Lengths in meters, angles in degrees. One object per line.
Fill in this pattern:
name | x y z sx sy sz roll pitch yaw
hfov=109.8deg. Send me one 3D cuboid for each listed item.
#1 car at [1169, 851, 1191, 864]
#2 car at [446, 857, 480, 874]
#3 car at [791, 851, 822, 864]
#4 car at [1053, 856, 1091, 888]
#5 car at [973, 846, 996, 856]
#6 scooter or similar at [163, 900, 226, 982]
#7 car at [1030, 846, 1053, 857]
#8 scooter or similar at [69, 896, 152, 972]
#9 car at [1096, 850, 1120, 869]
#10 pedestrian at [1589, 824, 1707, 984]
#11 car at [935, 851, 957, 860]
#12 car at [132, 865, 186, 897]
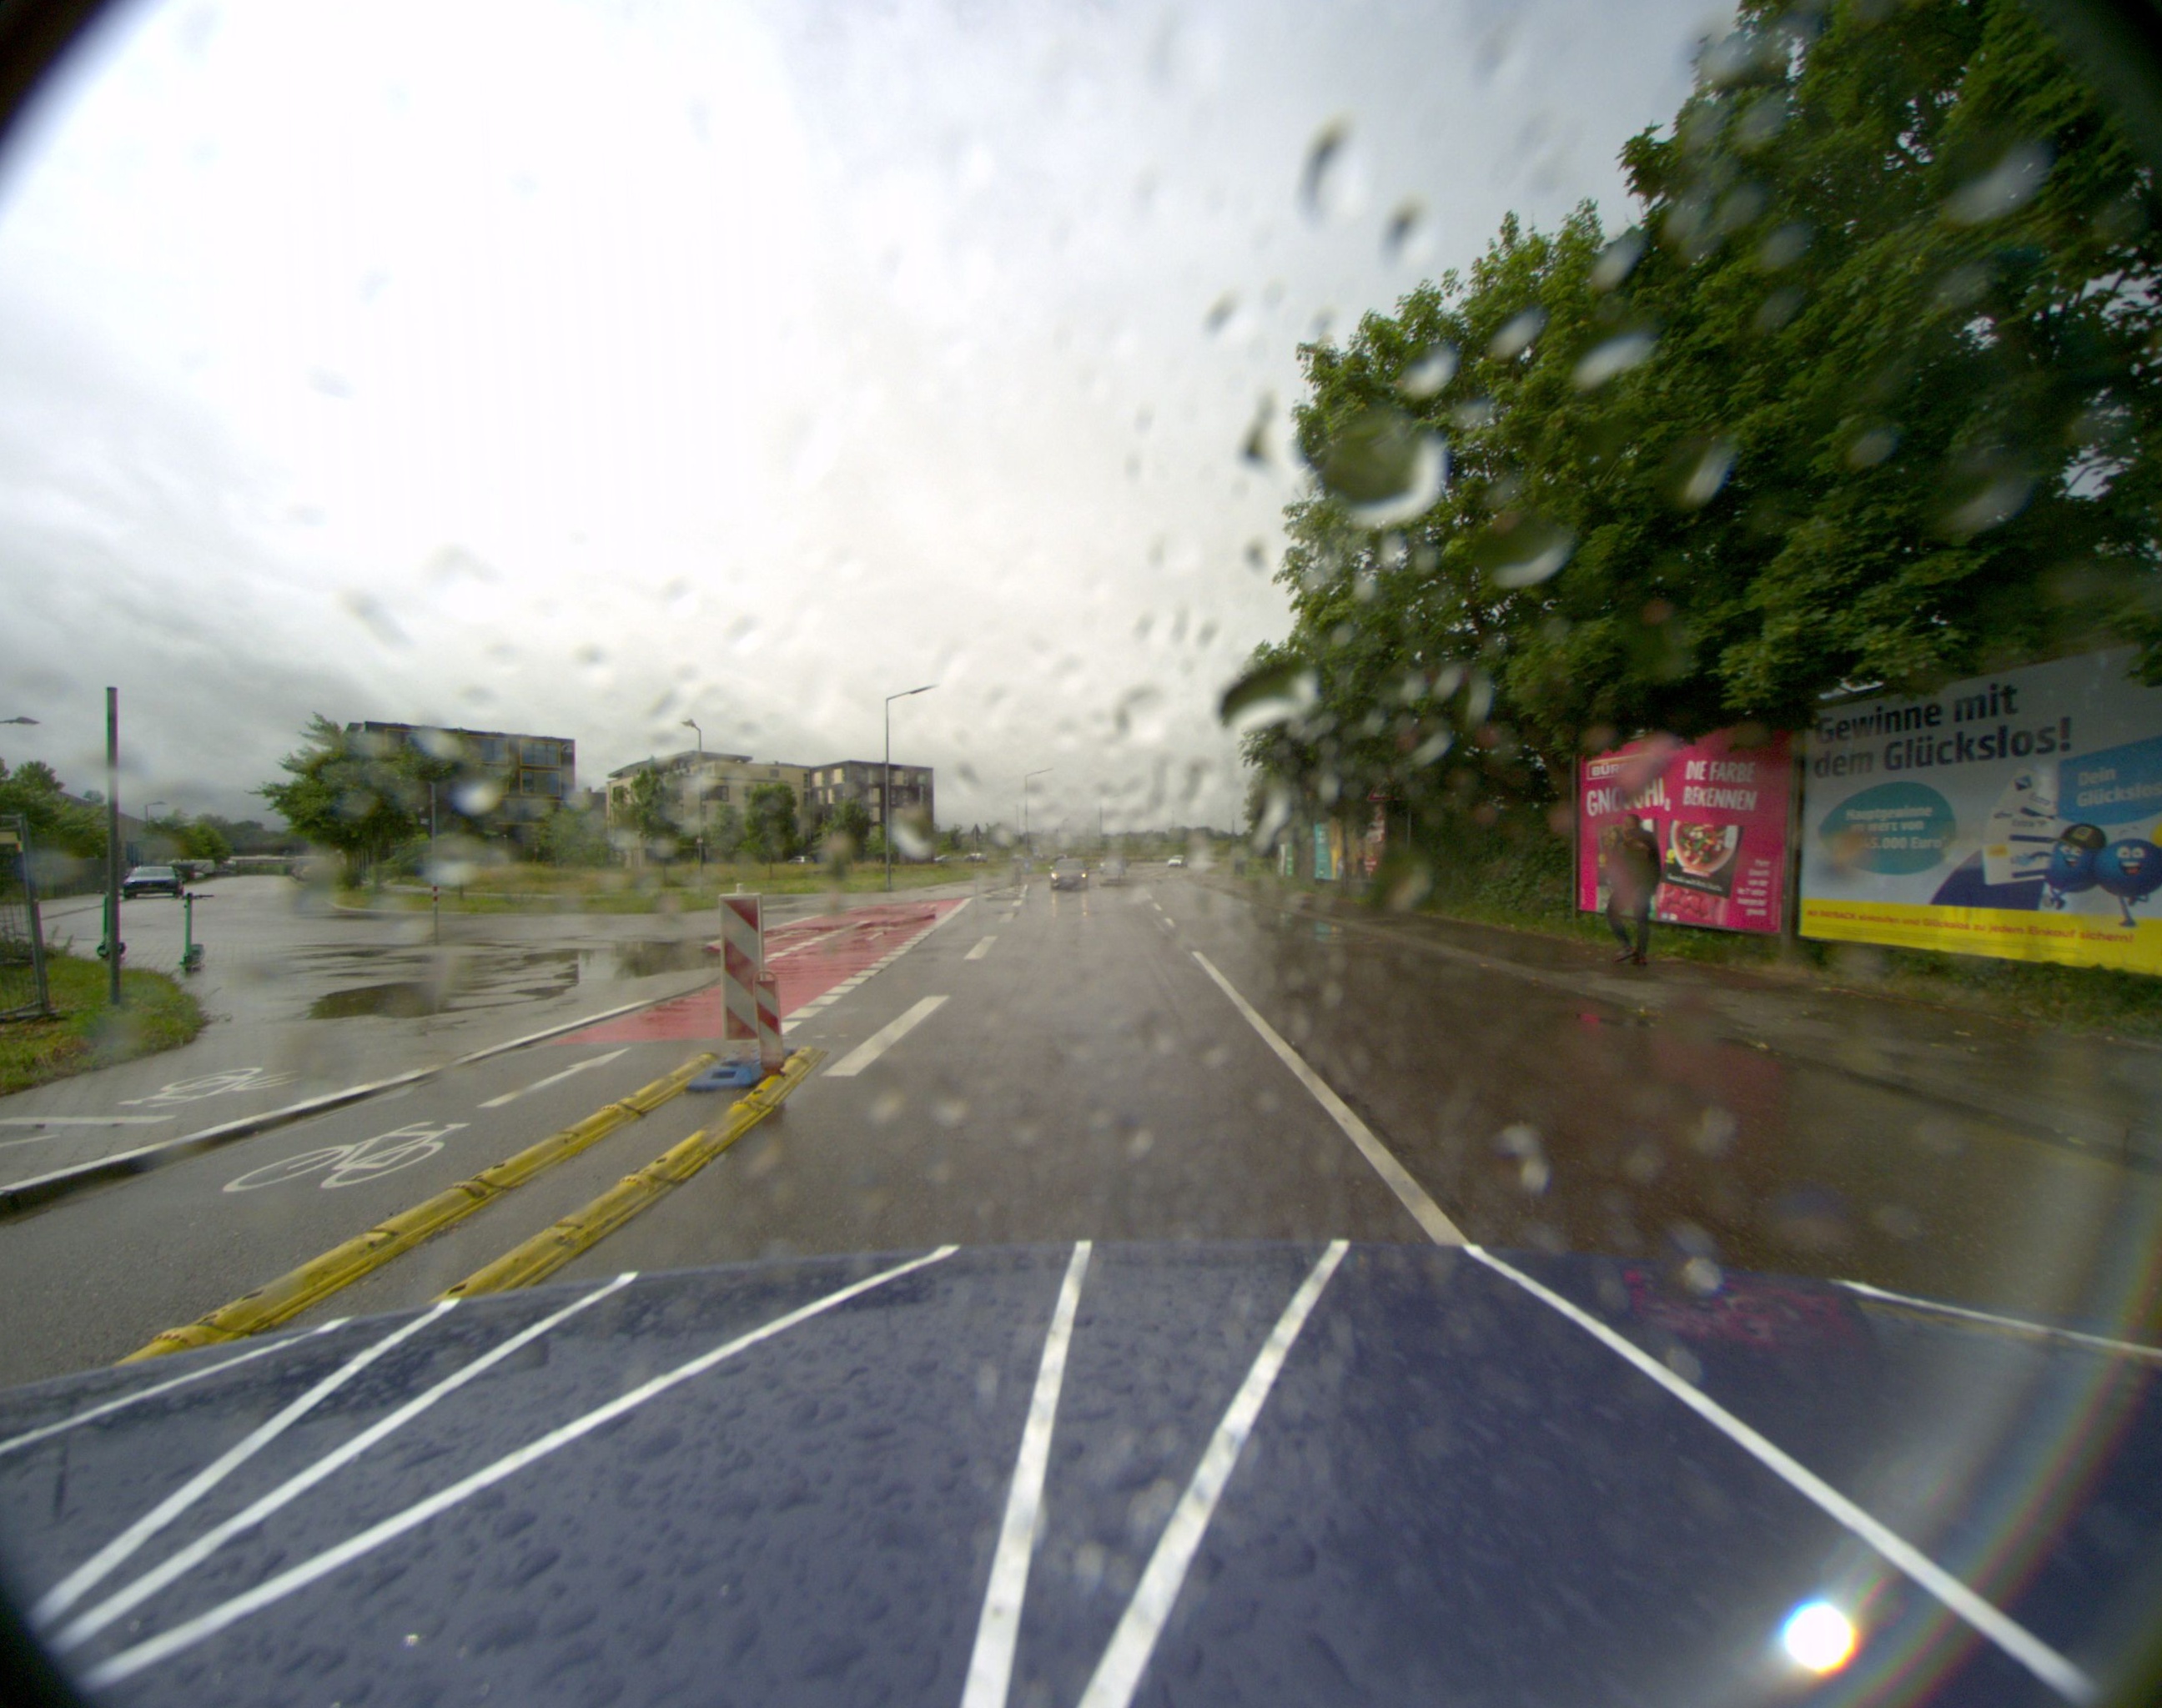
car | 13.243 0.489 101.592 1.794 1.624 3.824 -1 1 25
car | -60.491 1.155 74.318 3.658 1.574 1.652 -1 1 36
car | -35.933 0.449 99.413 1.644 1.574 3.674 -1 1 24
car | -0.469 0.842 37.466 1.724 1.423 3.817 -1 0 -1
car | -19.242 -0.579 151.911 4.008 2.002 1.994 -2 1 -43
scooter or similar | -13.682 1.315 11.717 1.191 1.144 0.484 0 1 34
car | -7.396 -0.487 140.898 3.988 2.002 2.004 -1 1 43
scooter or similar | -16.329 1.317 12.789 1.191 1.144 0.748 0 1 34
car | 2.472 0.441 68.770 1.646 1.624 3.671 -1 1 11
pedestrian | 6.573 0.563 8.846 0.841 1.759 0.644 -3 1 1
car | -25.350 0.346 142.946 3.657 1.602 1.596 -2 1 -40
car | -49.194 1.392 40.591 3.590 1.602 1.603 -1 1 43
